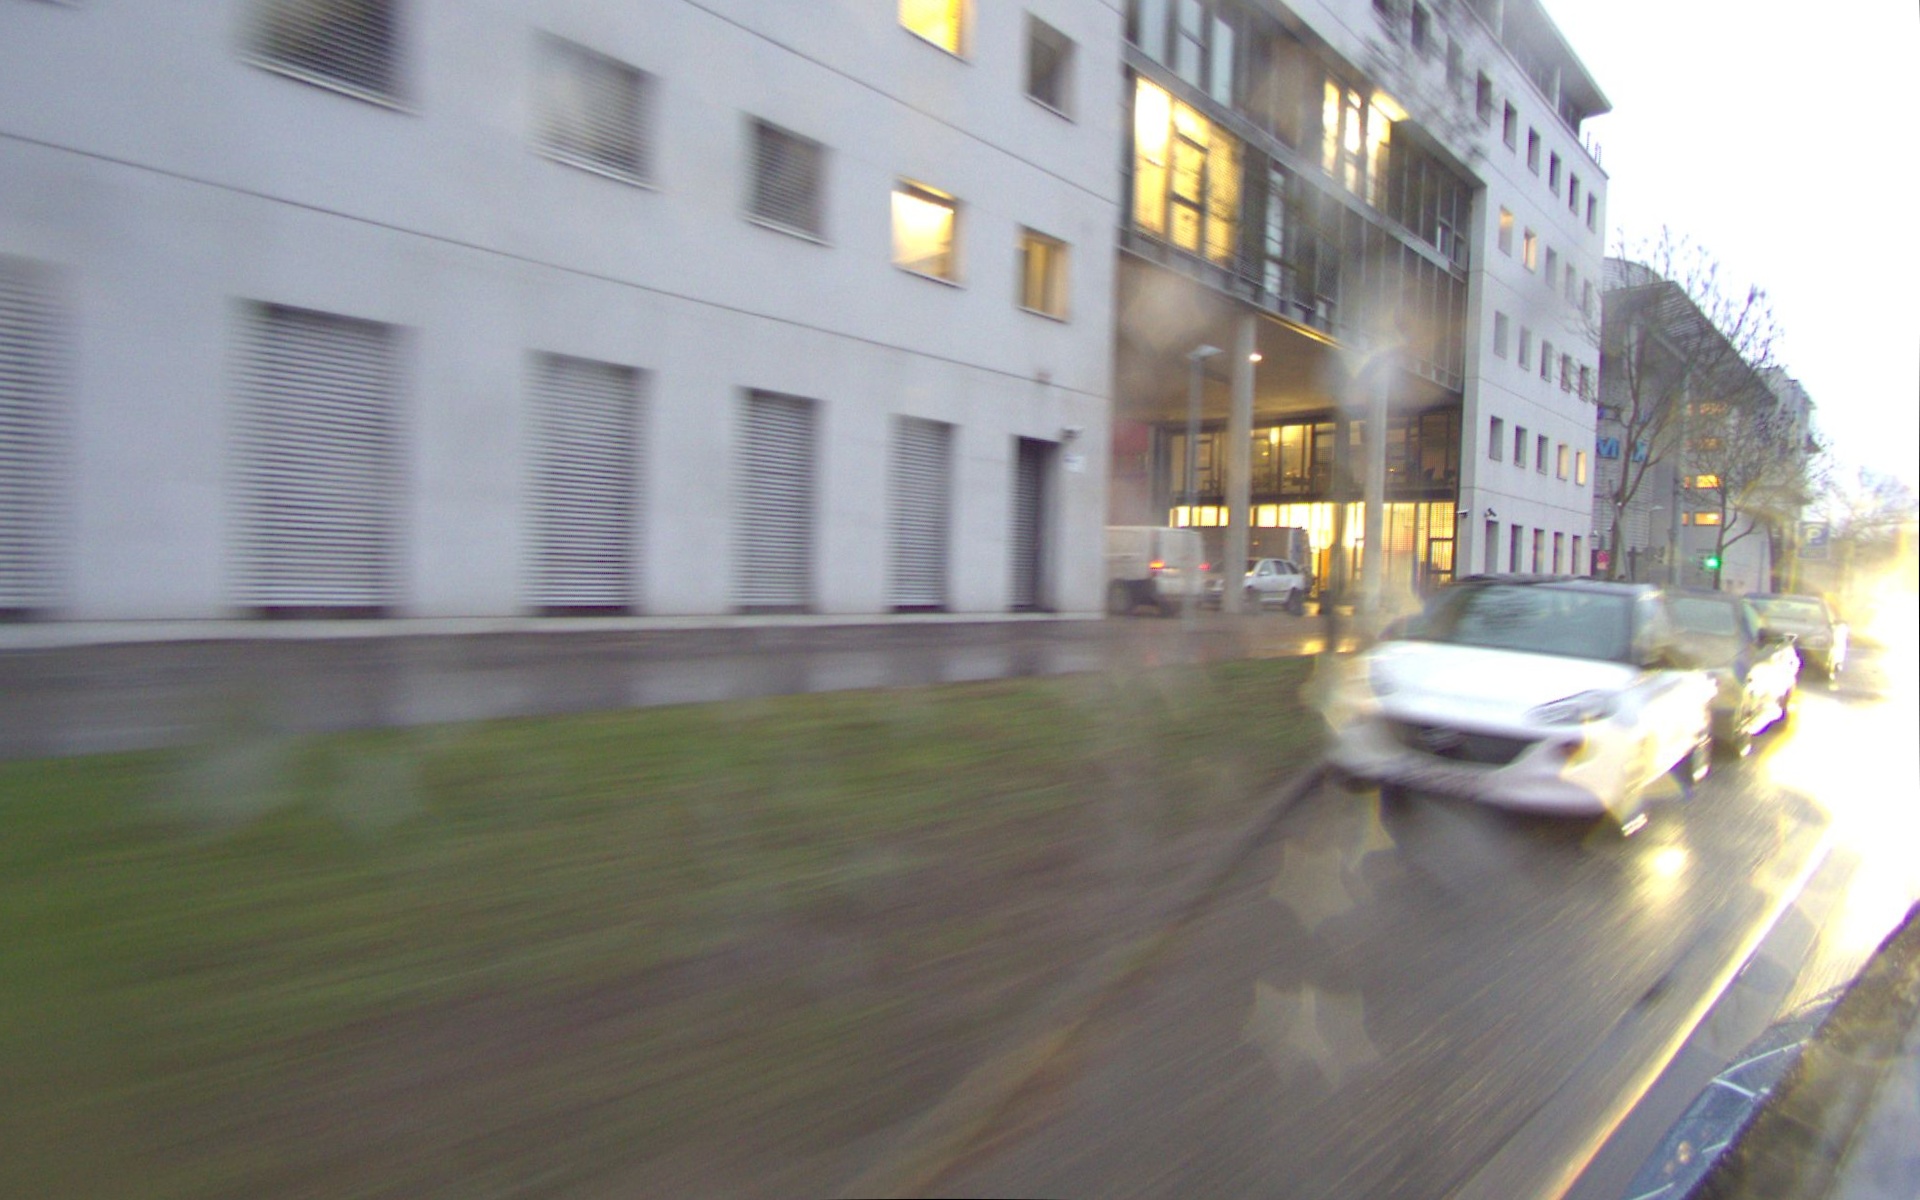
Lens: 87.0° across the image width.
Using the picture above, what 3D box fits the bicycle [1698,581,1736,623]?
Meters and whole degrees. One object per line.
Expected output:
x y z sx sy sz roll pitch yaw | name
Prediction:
21.941 0.034 29.312 0.551 1.128 2.132 5 4 44 | bicycle

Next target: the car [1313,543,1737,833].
3.957 0.416 6.851 1.593 1.411 3.430 5 3 44 | car

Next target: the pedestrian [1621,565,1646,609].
27.219 -0.533 40.897 0.737 1.757 0.692 1 1 42 | pedestrian

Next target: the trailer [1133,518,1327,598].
9.419 -1.522 35.730 6.255 2.613 2.177 4 2 42 | trailer

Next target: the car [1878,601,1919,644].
40.679 0.933 43.382 3.623 1.697 1.608 -2 2 -42 | car

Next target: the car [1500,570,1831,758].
7.148 0.497 10.085 4.177 1.420 1.757 0 3 -42 | car

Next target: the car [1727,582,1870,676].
15.438 0.465 18.559 1.597 1.458 4.160 5 4 44 | car

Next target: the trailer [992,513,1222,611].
3.190 -0.841 23.025 2.091 1.935 5.080 2 1 -39 | trailer

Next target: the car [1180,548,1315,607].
7.795 -0.635 27.202 1.632 1.387 4.461 5 5 42 | car

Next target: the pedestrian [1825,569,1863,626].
29.581 -0.098 33.878 0.771 1.829 0.689 8 7 42 | pedestrian
